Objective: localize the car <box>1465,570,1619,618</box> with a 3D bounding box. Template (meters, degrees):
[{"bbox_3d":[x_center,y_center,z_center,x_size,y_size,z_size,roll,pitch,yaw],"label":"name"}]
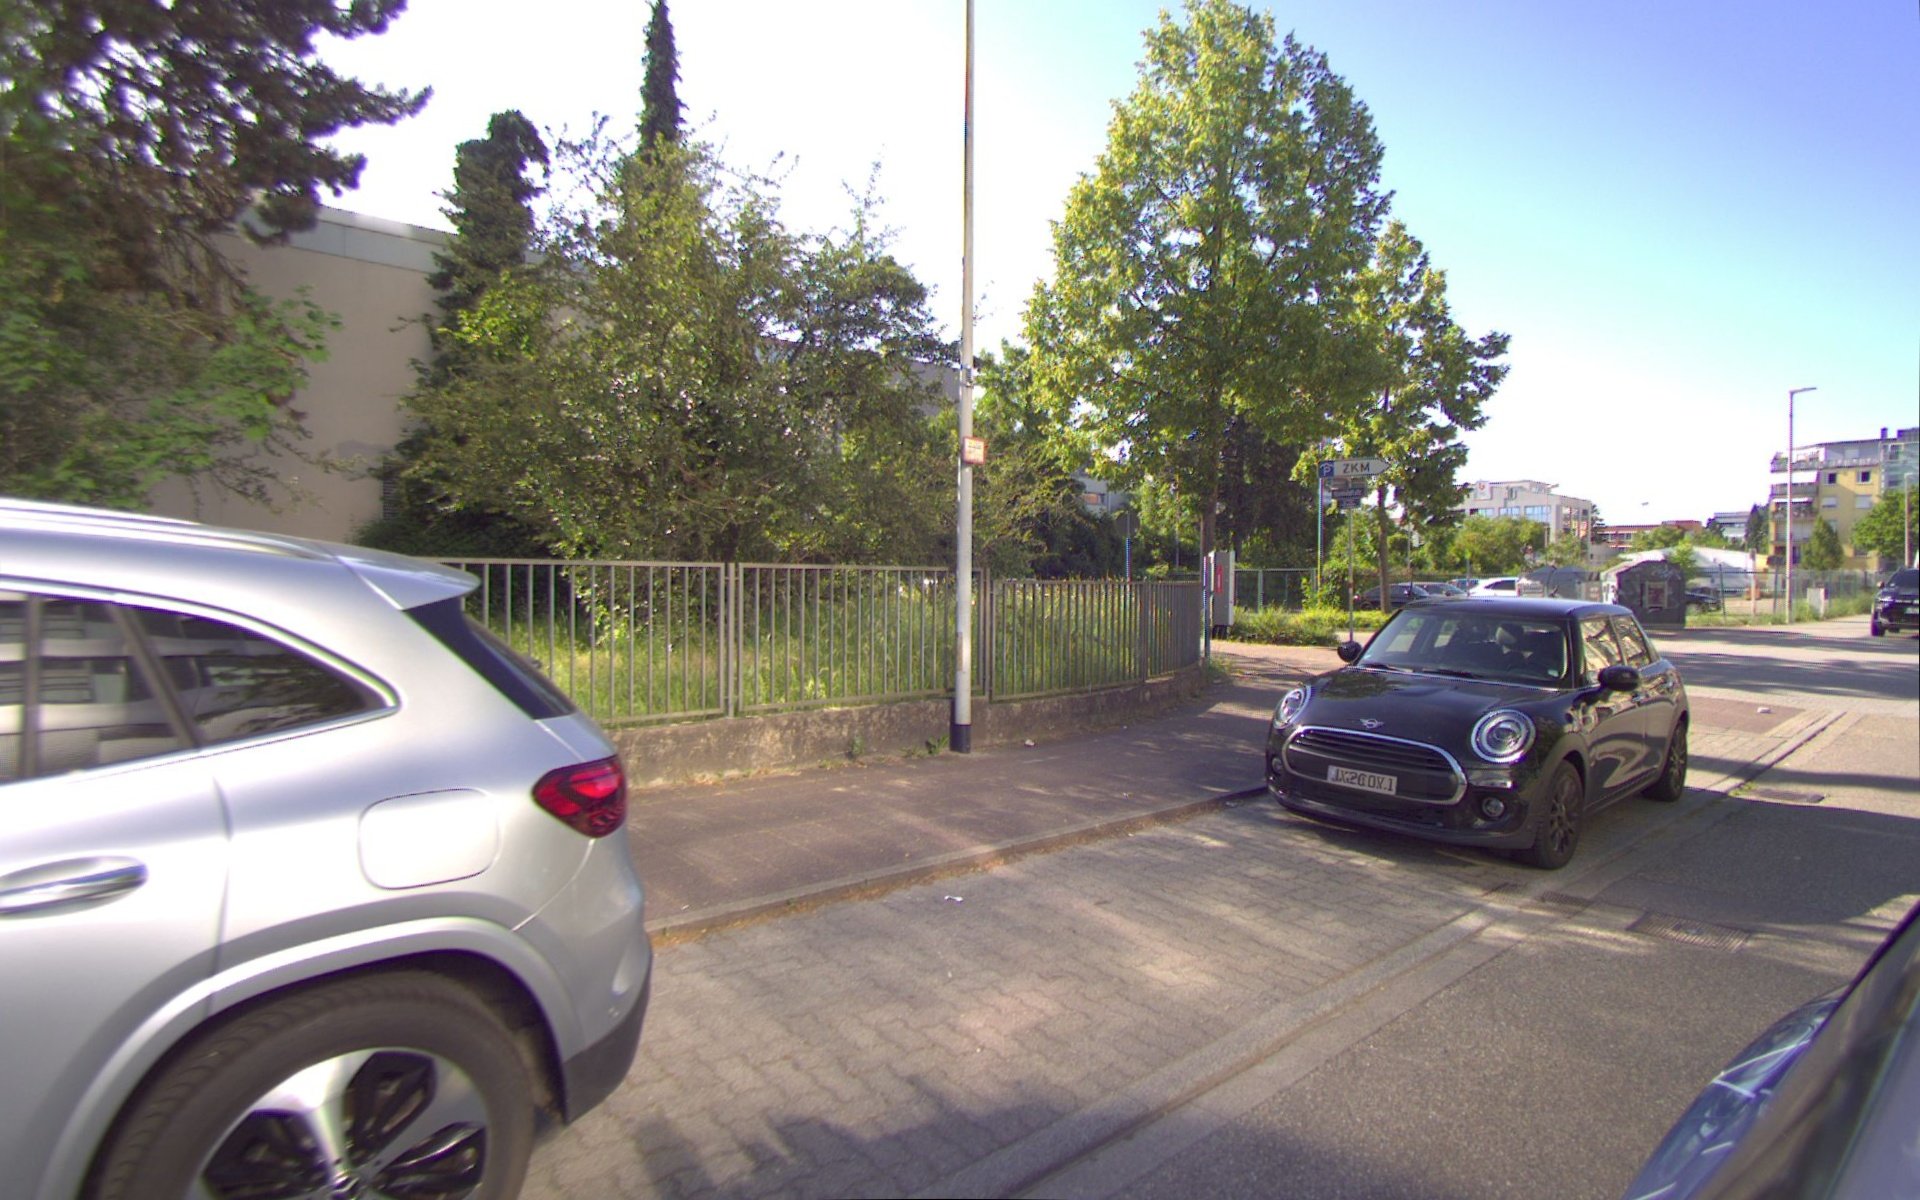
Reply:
[{"bbox_3d":[20.982,-0.243,36.632,1.964,1.630,4.423,-1,1,-38],"label":"car"}]

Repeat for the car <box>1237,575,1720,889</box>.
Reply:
[{"bbox_3d":[3.619,0.599,6.790,3.700,1.490,1.655,-1,3,-42],"label":"car"}]

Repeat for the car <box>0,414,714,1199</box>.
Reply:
[{"bbox_3d":[-2.728,0.527,1.544,4.219,1.649,1.829,-1,3,-42],"label":"car"}]

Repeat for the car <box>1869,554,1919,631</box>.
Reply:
[{"bbox_3d":[23.178,-0.186,23.862,4.030,1.716,1.998,-1,2,-40],"label":"car"}]

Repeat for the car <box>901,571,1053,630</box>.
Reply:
[{"bbox_3d":[0.372,-0.047,27.851,1.721,1.439,4.419,-1,3,-40],"label":"car"}]

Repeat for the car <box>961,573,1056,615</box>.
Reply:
[{"bbox_3d":[1.874,-0.286,39.722,1.695,1.492,3.539,-3,4,-43],"label":"car"}]

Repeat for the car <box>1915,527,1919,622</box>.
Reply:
[{"bbox_3d":[29.620,-0.744,29.350,6.173,2.629,2.162,-1,1,-41],"label":"car"}]

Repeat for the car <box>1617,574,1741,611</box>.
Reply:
[{"bbox_3d":[32.440,-0.371,45.758,1.863,1.579,4.240,-1,1,-38],"label":"car"}]
